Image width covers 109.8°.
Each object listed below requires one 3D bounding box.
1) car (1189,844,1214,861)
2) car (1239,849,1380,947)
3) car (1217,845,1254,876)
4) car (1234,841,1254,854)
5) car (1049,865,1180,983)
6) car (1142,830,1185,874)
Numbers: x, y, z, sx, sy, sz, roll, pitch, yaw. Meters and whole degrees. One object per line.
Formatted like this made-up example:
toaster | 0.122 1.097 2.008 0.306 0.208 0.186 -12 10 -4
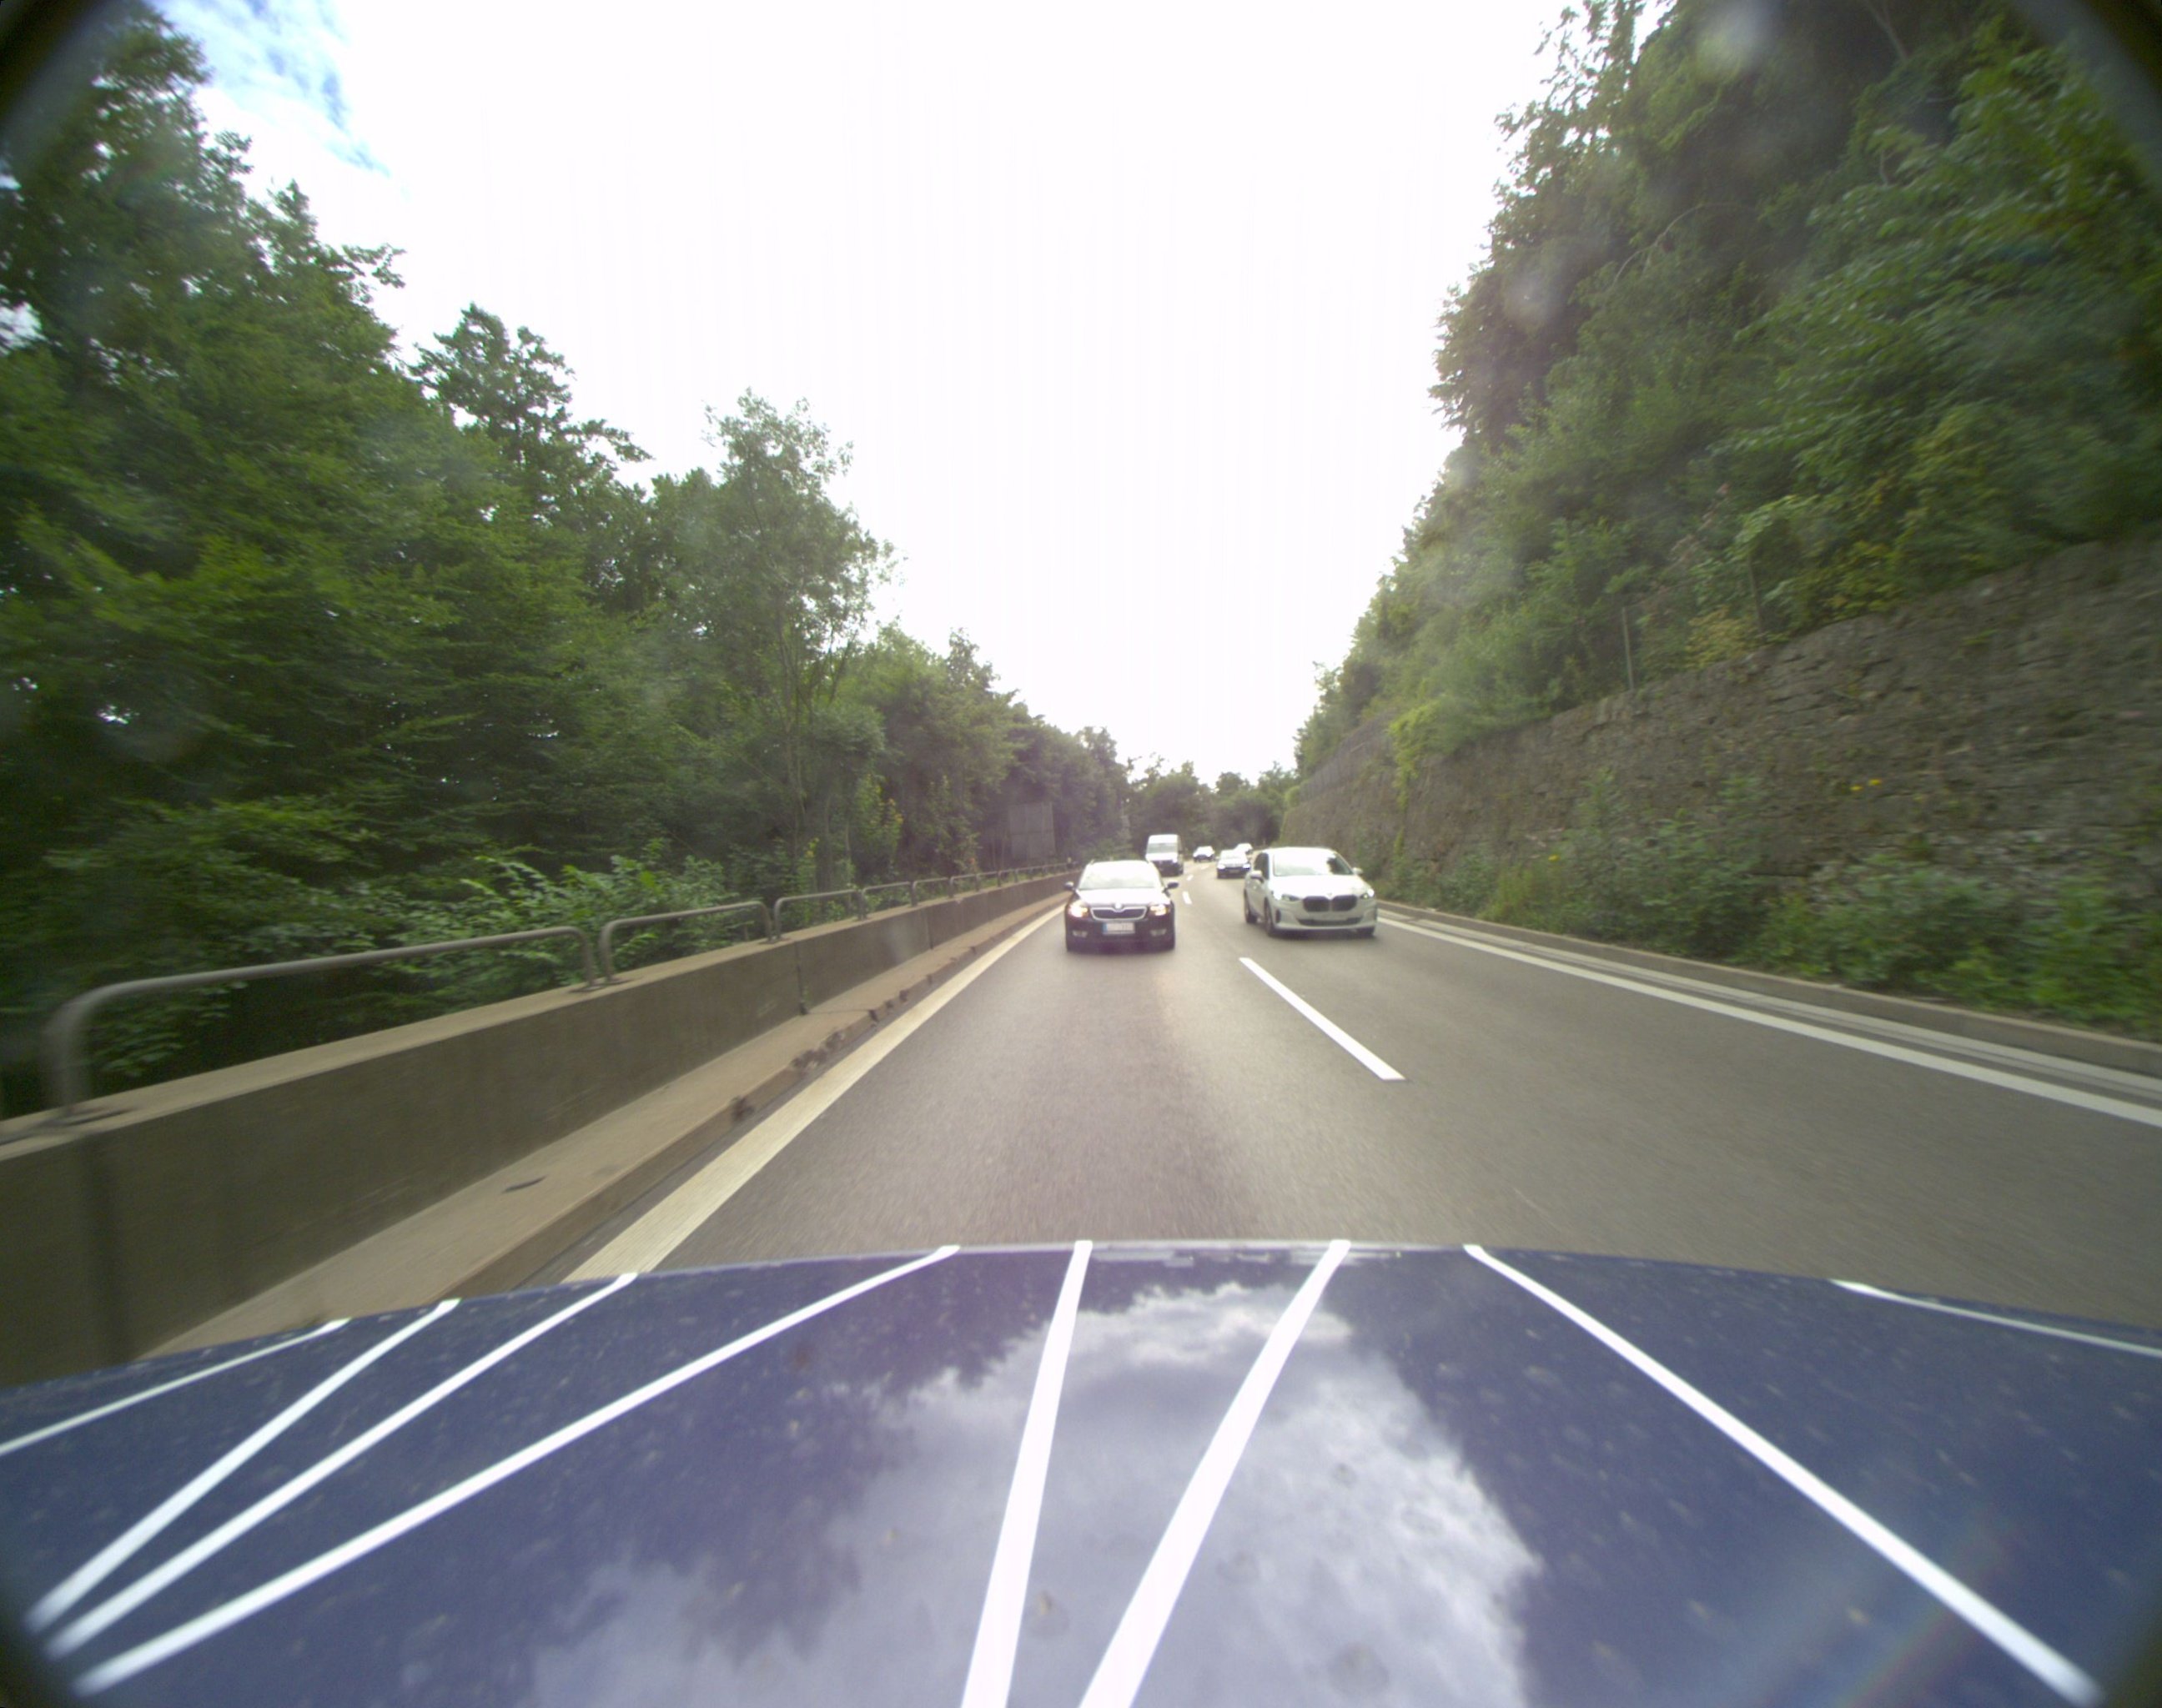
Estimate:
car | 12.144 -0.193 76.653 1.821 1.546 4.005 -2 1 18
car | 4.167 0.720 14.494 1.822 1.546 4.001 -2 1 6
car | 8.374 0.326 41.249 1.821 1.546 4.003 -2 1 11
car | 21.312 -0.874 99.080 1.820 1.546 4.006 -2 1 22
car | 0.585 0.933 12.003 1.637 1.384 4.499 -2 0 4
car | 5.302 -0.142 48.042 2.097 2.548 5.924 -2 1 11
